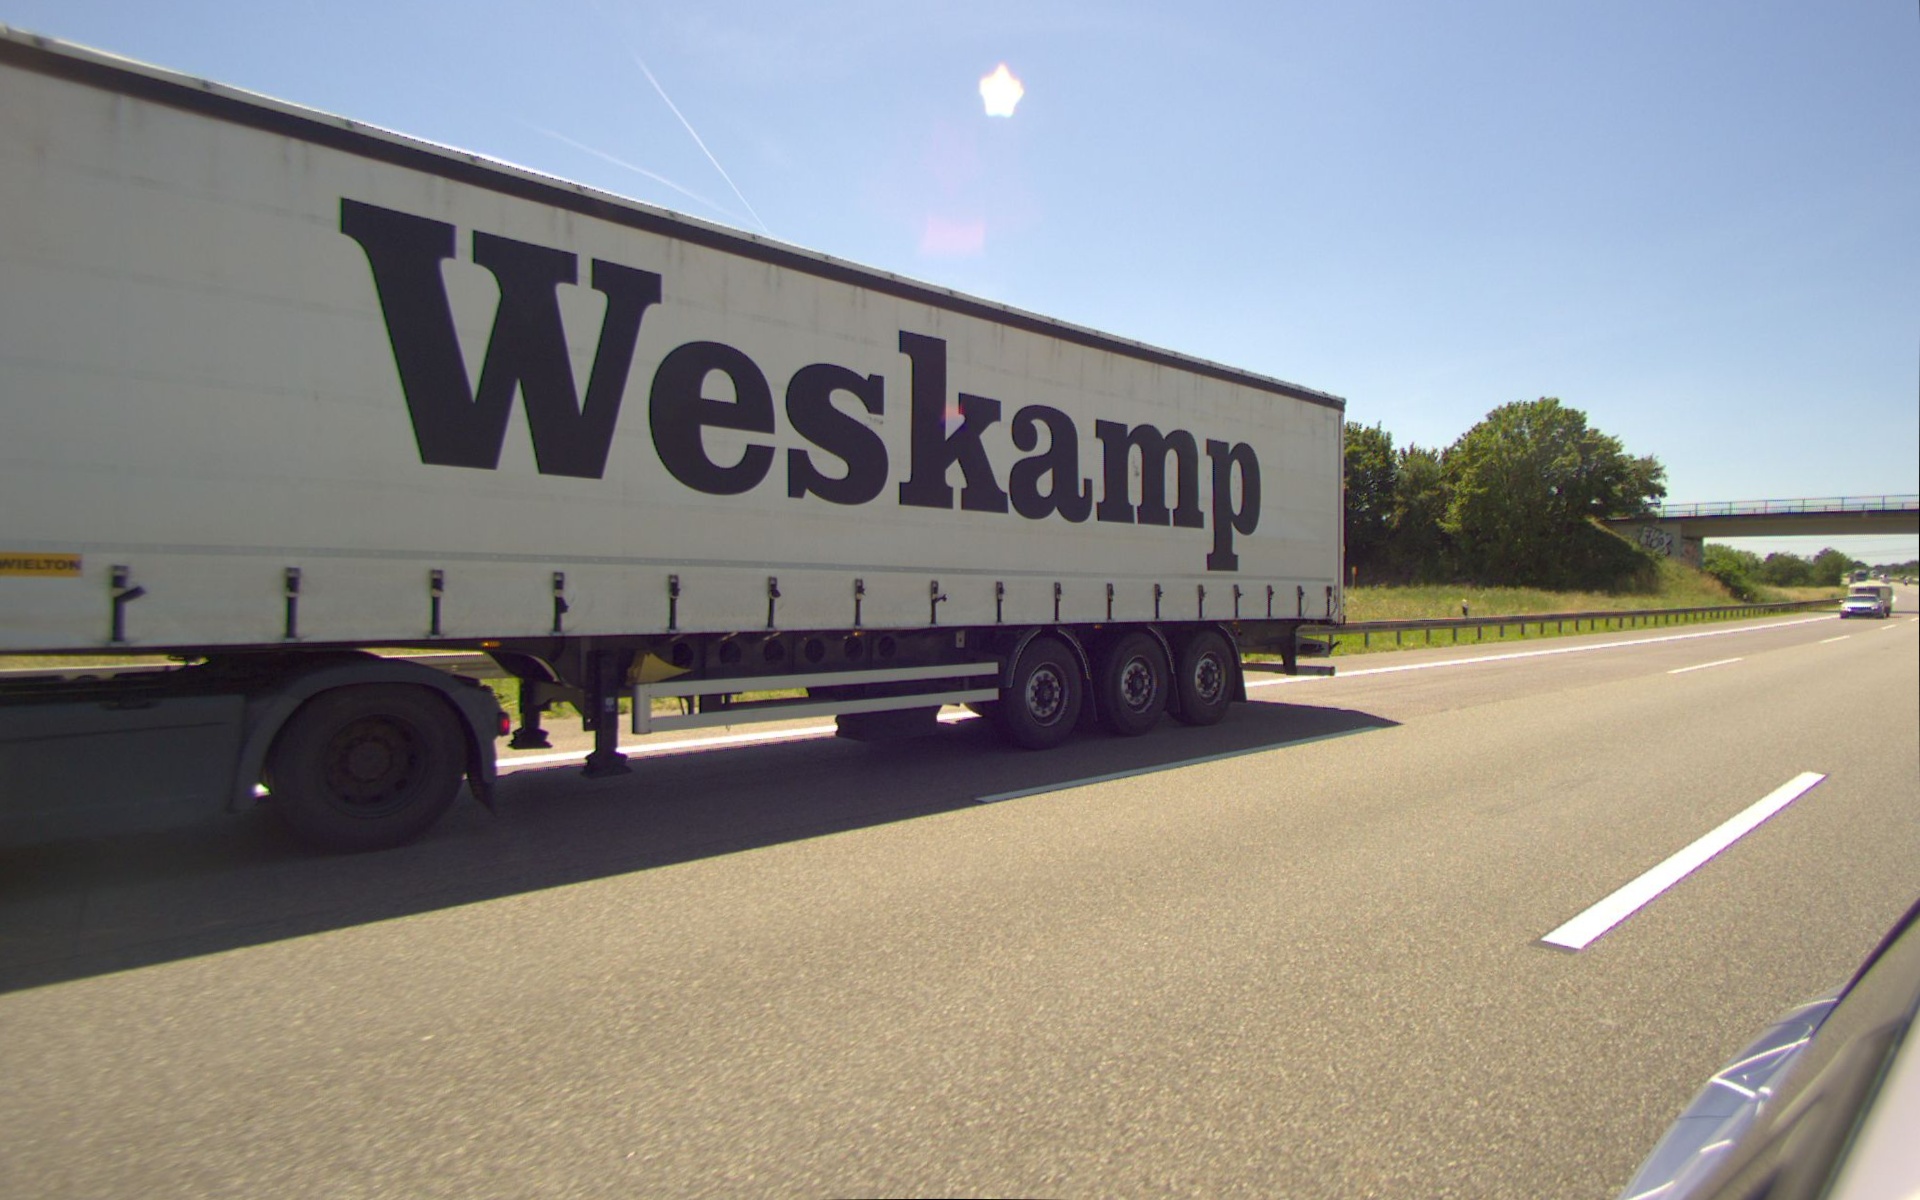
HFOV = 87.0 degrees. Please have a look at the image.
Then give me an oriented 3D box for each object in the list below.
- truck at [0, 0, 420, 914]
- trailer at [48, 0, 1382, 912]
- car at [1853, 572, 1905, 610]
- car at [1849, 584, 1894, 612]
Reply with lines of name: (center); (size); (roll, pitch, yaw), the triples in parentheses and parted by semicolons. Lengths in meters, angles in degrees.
truck: (-5.788, -0.732, 5.085); (5.001, 4.310, 2.604); (0, 0, -41)
trailer: (-0.118, -0.832, 10.203); (13.408, 4.305, 2.599); (-1, 1, -42)
car: (57.806, -0.587, 63.615); (2.183, 2.294, 4.872); (2, 2, 45)
car: (53.225, -0.131, 59.071); (1.780, 1.494, 3.936); (2, 2, 45)
